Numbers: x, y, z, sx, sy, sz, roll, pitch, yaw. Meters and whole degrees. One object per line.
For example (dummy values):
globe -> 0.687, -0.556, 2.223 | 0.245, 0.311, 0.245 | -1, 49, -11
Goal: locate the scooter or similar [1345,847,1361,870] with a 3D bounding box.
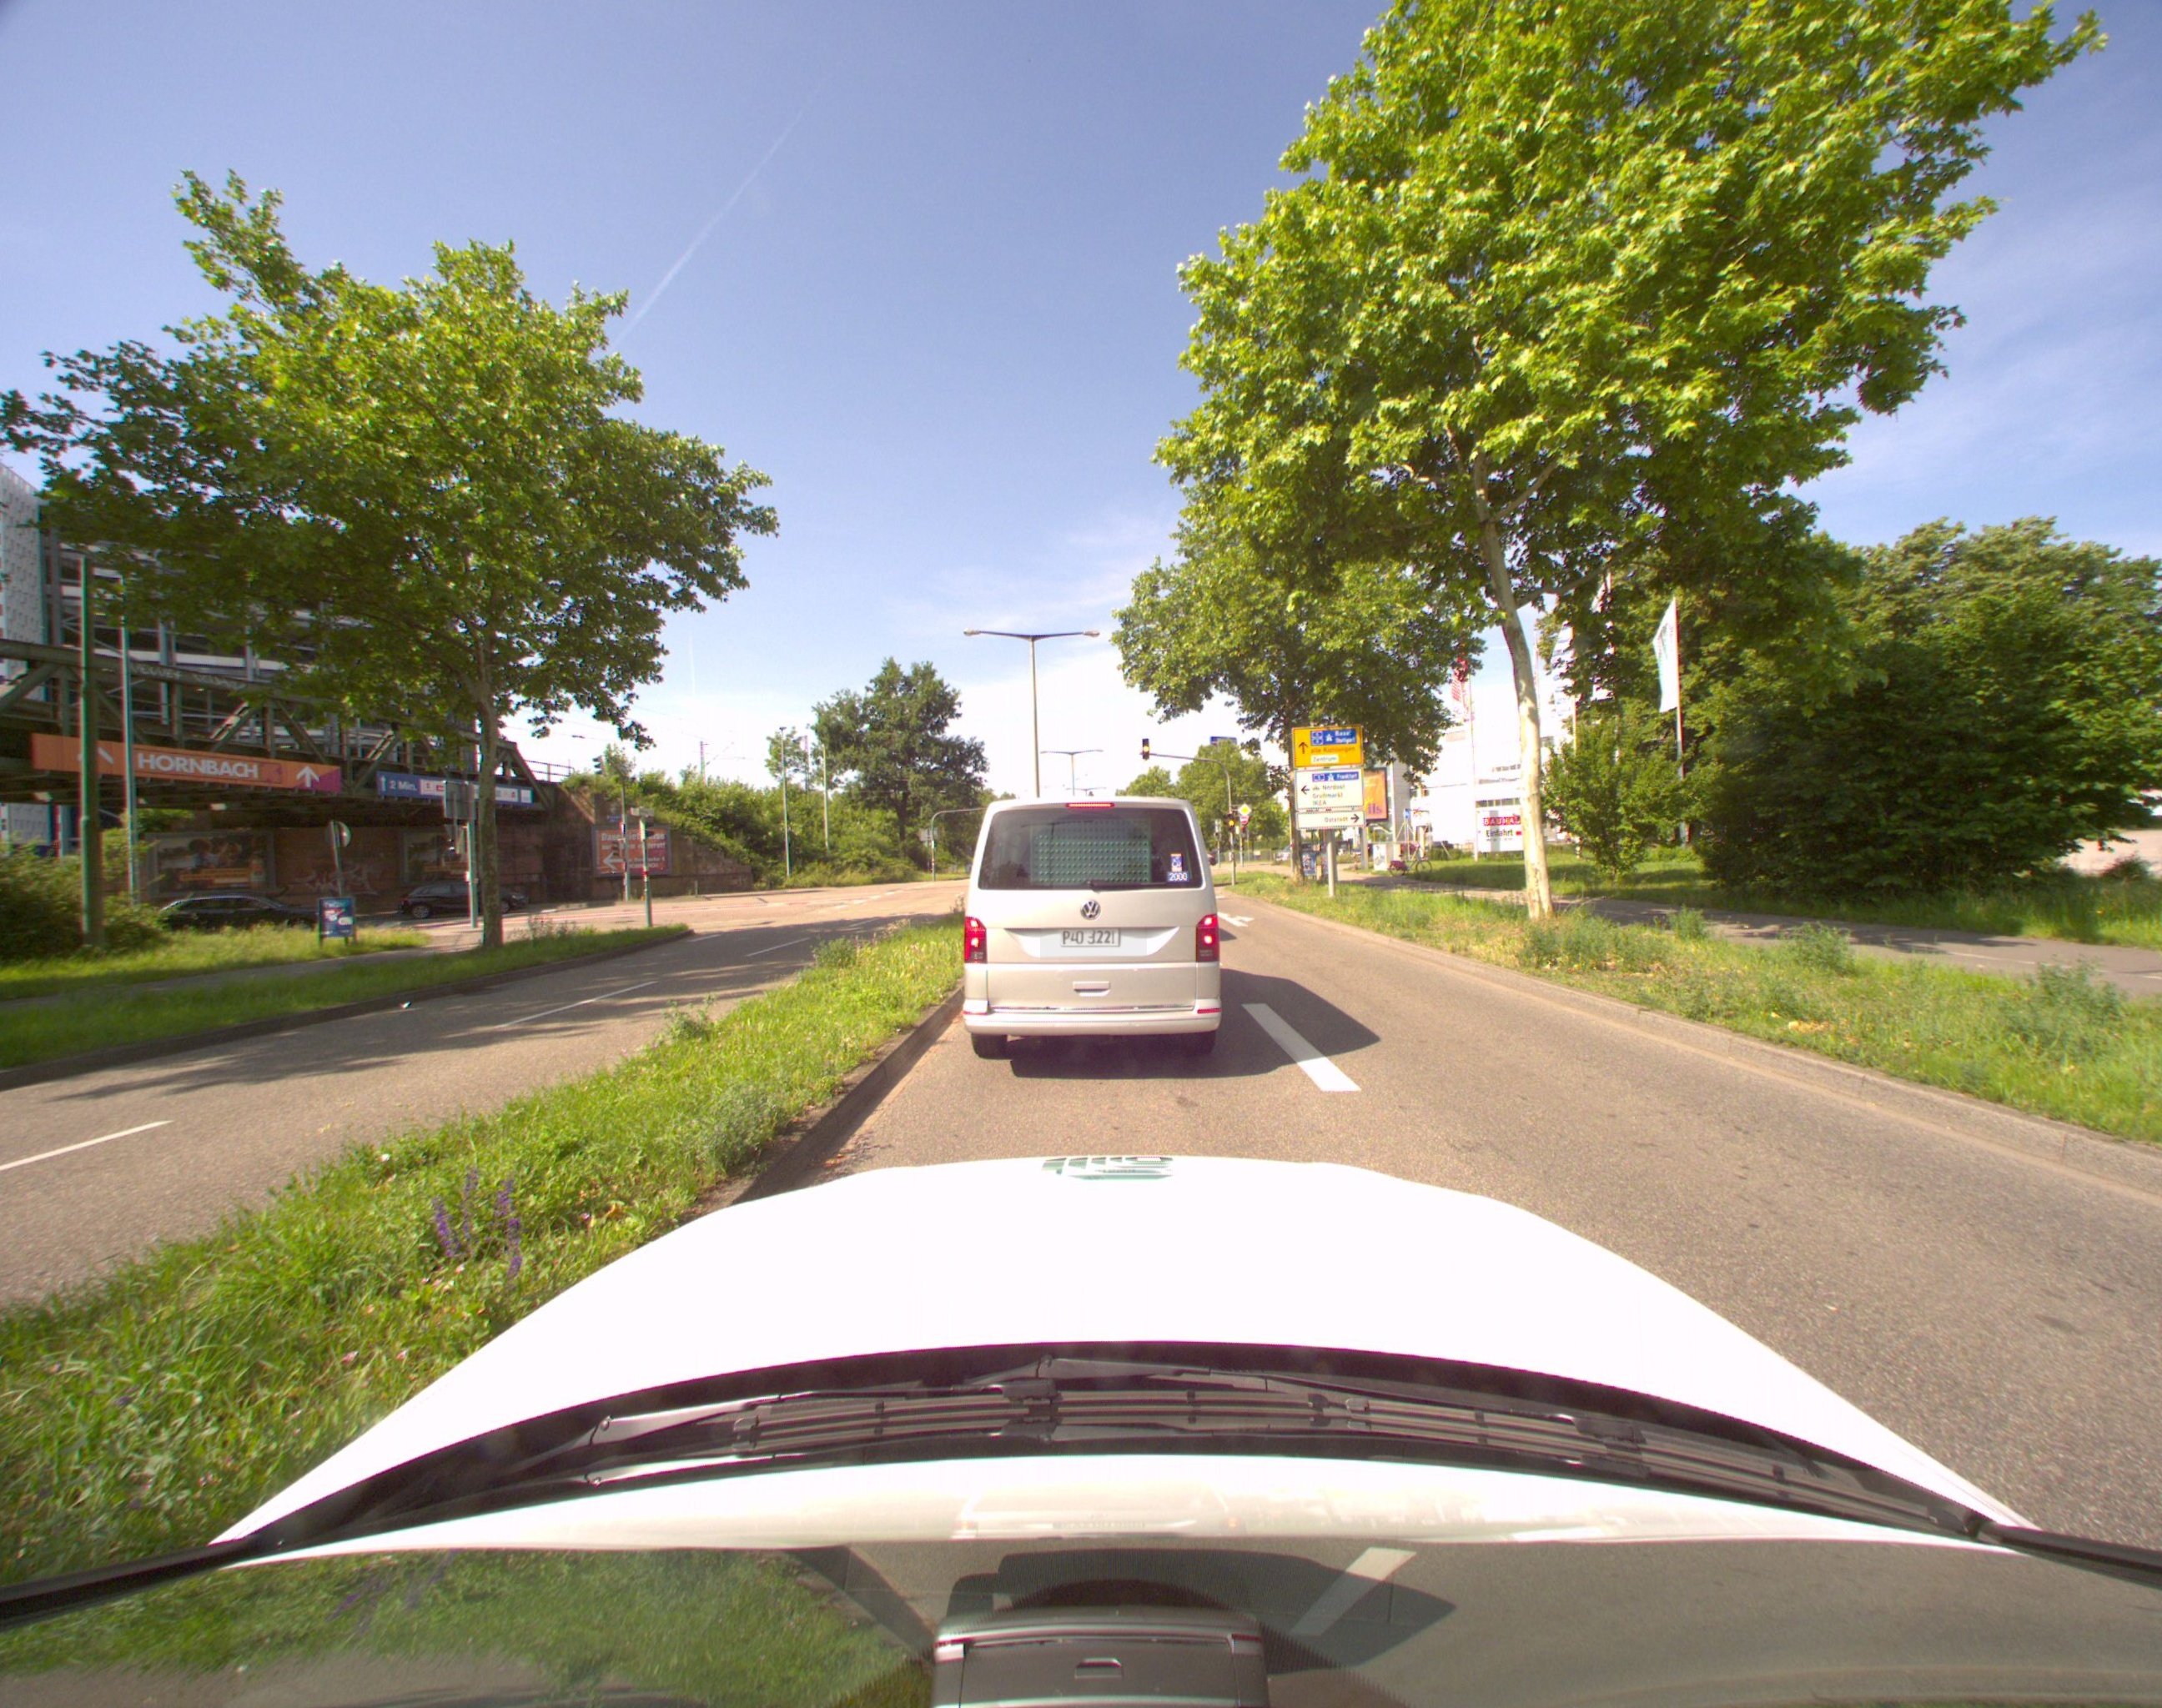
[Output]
scooter or similar -> 14.112, 0.238, 42.209 | 0.423, 1.126, 1.124 | -3, 0, 1

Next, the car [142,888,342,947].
car -> -25.508, 1.877, 24.992 | 3.959, 1.481, 1.804 | -1, -1, -34

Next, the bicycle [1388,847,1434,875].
bicycle -> 14.196, 0.299, 35.070 | 1.771, 1.108, 0.506 | -4, -1, 20

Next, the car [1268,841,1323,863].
car -> 18.083, -0.182, 68.496 | 4.646, 1.689, 1.895 | -3, 0, -35

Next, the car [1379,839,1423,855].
car -> 31.996, -0.708, 81.463 | 4.646, 1.444, 1.762 | -3, 0, -35

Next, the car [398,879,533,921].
car -> -25.598, 1.878, 34.067 | 4.353, 1.395, 1.752 | -3, 0, -35

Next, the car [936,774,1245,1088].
car -> 0.141, 0.503, 7.764 | 1.934, 1.971, 5.024 | -2, 0, 2

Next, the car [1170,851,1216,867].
car -> 12.028, 0.560, 87.521 | 4.566, 1.444, 1.793 | -3, 0, 36

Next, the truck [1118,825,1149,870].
truck -> 5.034, -0.583, 79.121 | 2.543, 3.957, 8.977 | -2, 0, 2

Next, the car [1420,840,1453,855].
car -> 39.119, -0.734, 89.605 | 3.626, 1.566, 1.976 | 0, -1, -41
